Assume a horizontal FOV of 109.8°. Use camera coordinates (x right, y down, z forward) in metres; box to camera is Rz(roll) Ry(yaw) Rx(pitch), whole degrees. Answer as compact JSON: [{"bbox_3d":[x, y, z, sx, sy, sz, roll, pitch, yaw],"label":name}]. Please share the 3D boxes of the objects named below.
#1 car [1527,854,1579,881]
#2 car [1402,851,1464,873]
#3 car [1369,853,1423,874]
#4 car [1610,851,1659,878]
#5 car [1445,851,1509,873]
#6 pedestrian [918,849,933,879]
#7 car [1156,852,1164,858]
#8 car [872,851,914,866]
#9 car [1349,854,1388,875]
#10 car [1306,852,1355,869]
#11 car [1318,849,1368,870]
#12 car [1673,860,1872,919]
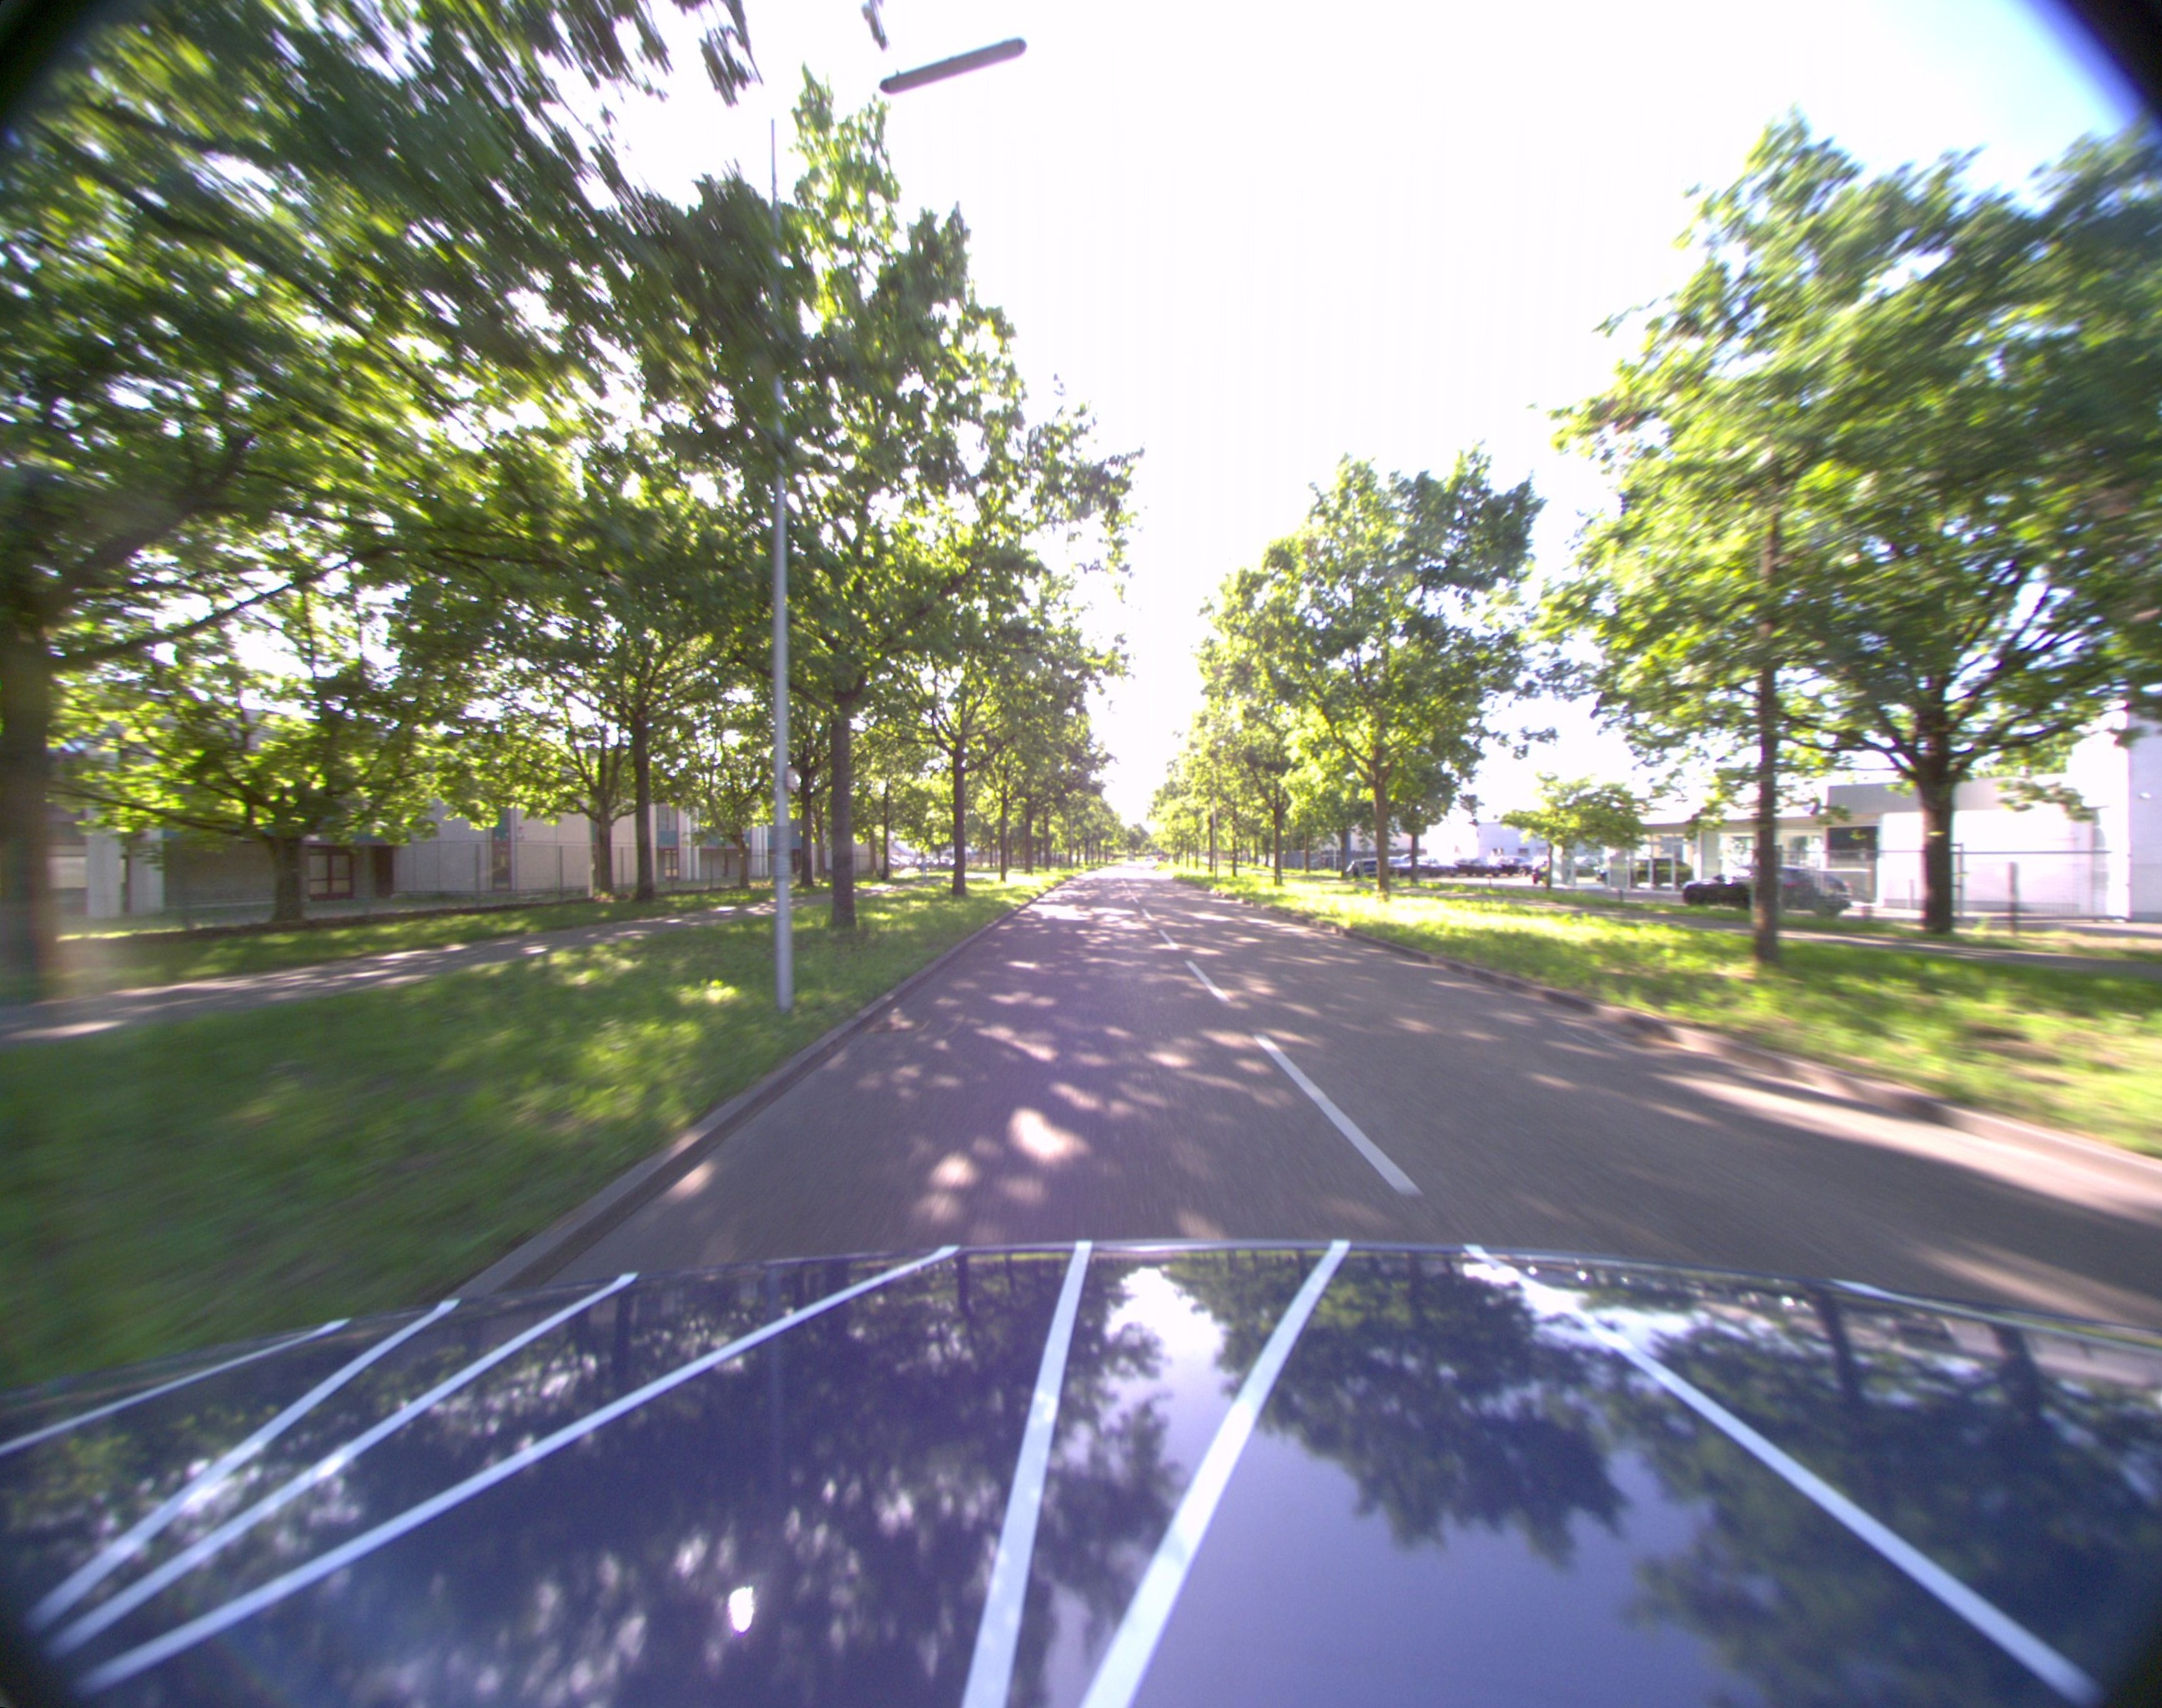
[{"bbox_3d":[31.086,0.849,49.926,1.994,1.651,5.271,-2,-1,42],"label":"car"},{"bbox_3d":[29.526,0.673,63.949,2.000,1.707,5.254,-2,1,-11],"label":"car"},{"bbox_3d":[26.502,0.779,64.074,2.001,1.665,4.494,-2,1,-13],"label":"car"},{"bbox_3d":[35.509,0.678,48.850,1.995,1.651,5.020,-1,-1,30],"label":"car"},{"bbox_3d":[33.014,0.649,63.560,2.000,1.680,5.255,-2,1,-9],"label":"car"},{"bbox_3d":[-8.740,0.566,42.804,0.609,1.621,0.719,2,0,3],"label":"pedestrian"},{"bbox_3d":[21.033,0.290,202.139,1.771,1.663,4.200,1,1,4],"label":"car"},{"bbox_3d":[-24.636,0.583,99.589,5.075,1.948,1.895,0,1,0],"label":"car"},{"bbox_3d":[20.738,0.749,54.848,2.570,1.461,1.427,0,1,20],"label":"car"},{"bbox_3d":[25.054,0.654,76.300,4.320,1.510,1.862,-2,1,6],"label":"car"},{"bbox_3d":[24.378,0.505,70.795,3.995,1.732,2.001,-2,1,6],"label":"car"},{"bbox_3d":[22.291,1.069,24.850,1.998,1.588,5.015,-2,1,2],"label":"car"}]
